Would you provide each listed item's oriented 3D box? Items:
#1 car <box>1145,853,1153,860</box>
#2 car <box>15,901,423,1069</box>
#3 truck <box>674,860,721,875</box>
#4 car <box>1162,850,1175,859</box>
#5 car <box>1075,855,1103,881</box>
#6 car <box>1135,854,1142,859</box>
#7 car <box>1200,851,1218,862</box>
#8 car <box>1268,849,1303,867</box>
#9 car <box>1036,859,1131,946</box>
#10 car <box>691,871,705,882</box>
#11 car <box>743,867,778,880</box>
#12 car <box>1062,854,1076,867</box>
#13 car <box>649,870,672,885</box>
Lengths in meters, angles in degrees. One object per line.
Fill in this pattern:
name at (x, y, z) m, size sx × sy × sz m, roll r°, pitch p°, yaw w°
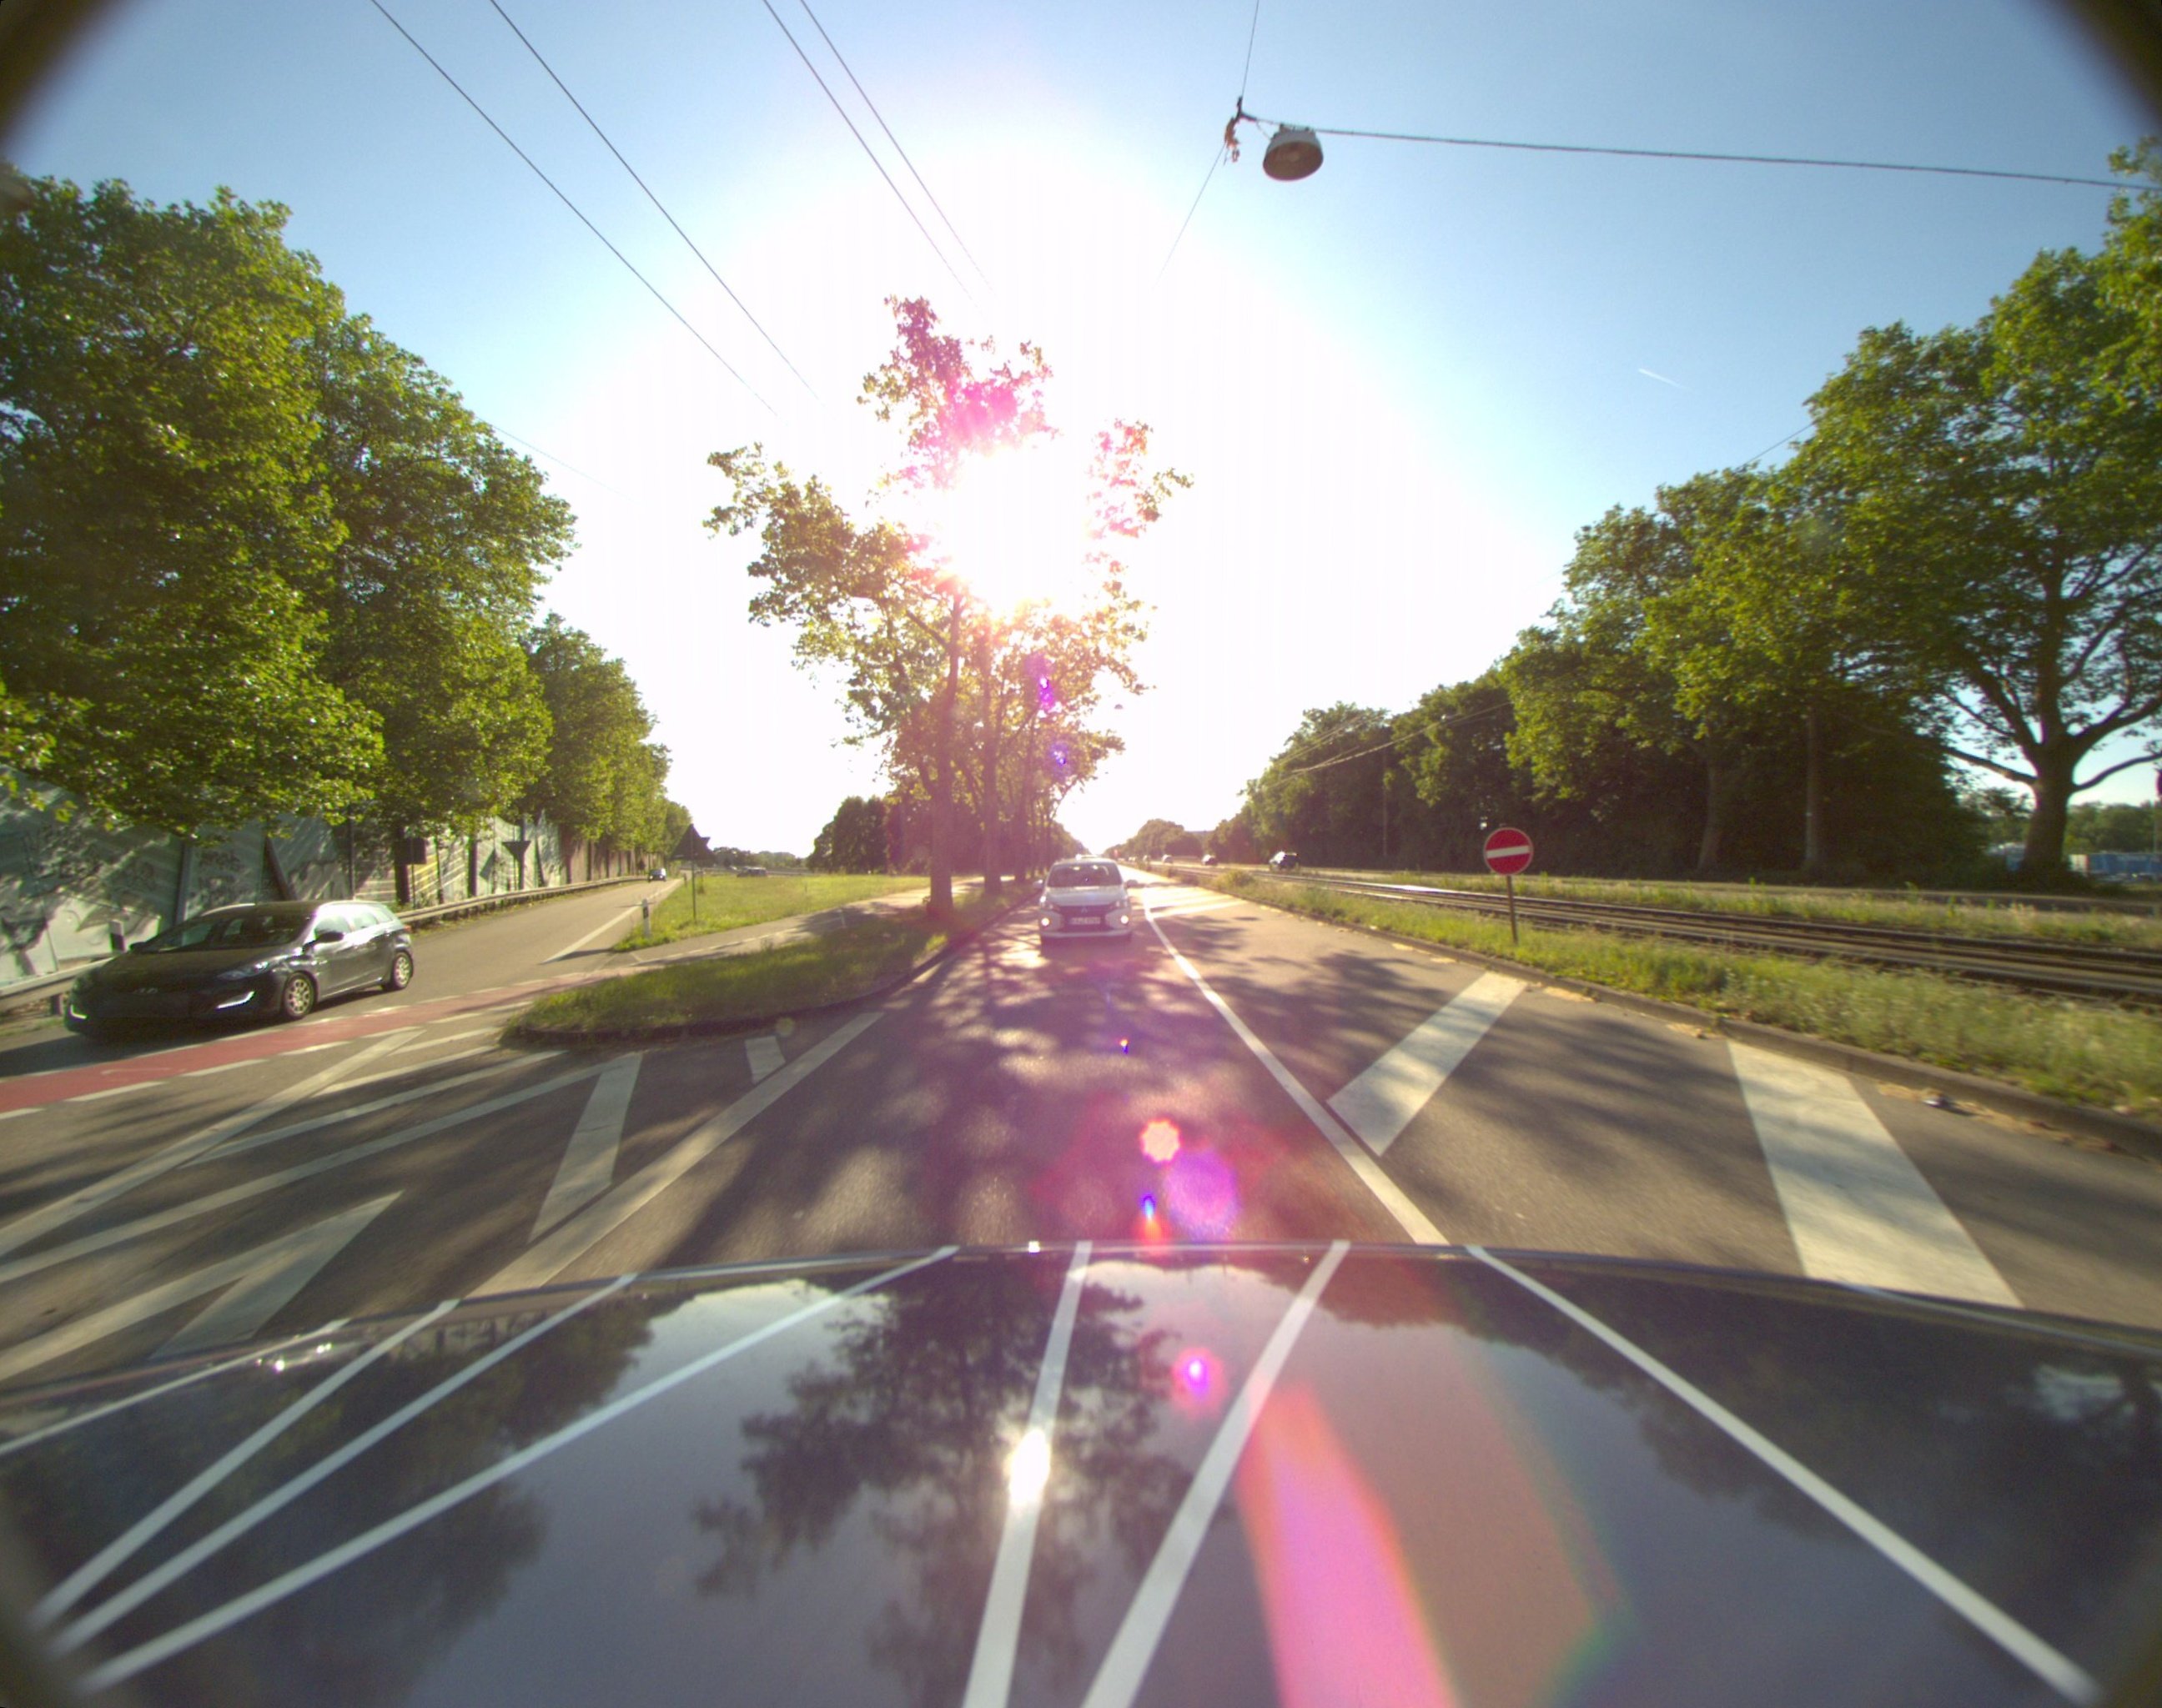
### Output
car at (18.721, 0.691, 209.227) m, size 1.851 × 1.724 × 4.930 m, roll 1°, pitch 0°, yaw -2°
car at (-10.913, 1.496, 10.169) m, size 1.800 × 1.432 × 4.216 m, roll -2°, pitch 0°, yaw -21°
truck at (-100.455, 3.426, 199.147) m, size 10.627 × 3.474 × 2.646 m, roll 3°, pitch -1°, yaw -28°
car at (18.592, 0.097, 161.983) m, size 1.968 × 1.697 × 4.943 m, roll 1°, pitch 0°, yaw -2°
car at (0.508, 0.869, 49.616) m, size 1.709 × 1.512 × 3.844 m, roll -2°, pitch 0°, yaw 1°
car at (18.797, 0.745, 248.348) m, size 1.695 × 1.547 × 4.190 m, roll 1°, pitch 0°, yaw 0°
car at (18.877, 0.398, 112.223) m, size 1.715 × 1.459 × 4.347 m, roll 1°, pitch 0°, yaw -1°
car at (19.911, 0.383, 74.231) m, size 1.903 × 1.684 × 4.940 m, roll 1°, pitch 0°, yaw -1°
car at (0.090, 0.915, 16.012) m, size 1.709 × 1.503 × 3.862 m, roll -2°, pitch 0°, yaw 1°
car at (-64.643, 3.806, 128.340) m, size 1.817 × 1.762 × 3.855 m, roll -2°, pitch 0°, yaw -23°
car at (-36.358, 2.216, 86.217) m, size 4.124 × 1.409 × 1.698 m, roll -2°, pitch 1°, yaw 35°
car at (-1.749, 0.959, 109.444) m, size 1.886 × 1.789 × 3.644 m, roll -2°, pitch 0°, yaw -2°
car at (-45.429, 2.537, 82.124) m, size 1.801 × 1.432 × 4.215 m, roll -2°, pitch 0°, yaw -25°
